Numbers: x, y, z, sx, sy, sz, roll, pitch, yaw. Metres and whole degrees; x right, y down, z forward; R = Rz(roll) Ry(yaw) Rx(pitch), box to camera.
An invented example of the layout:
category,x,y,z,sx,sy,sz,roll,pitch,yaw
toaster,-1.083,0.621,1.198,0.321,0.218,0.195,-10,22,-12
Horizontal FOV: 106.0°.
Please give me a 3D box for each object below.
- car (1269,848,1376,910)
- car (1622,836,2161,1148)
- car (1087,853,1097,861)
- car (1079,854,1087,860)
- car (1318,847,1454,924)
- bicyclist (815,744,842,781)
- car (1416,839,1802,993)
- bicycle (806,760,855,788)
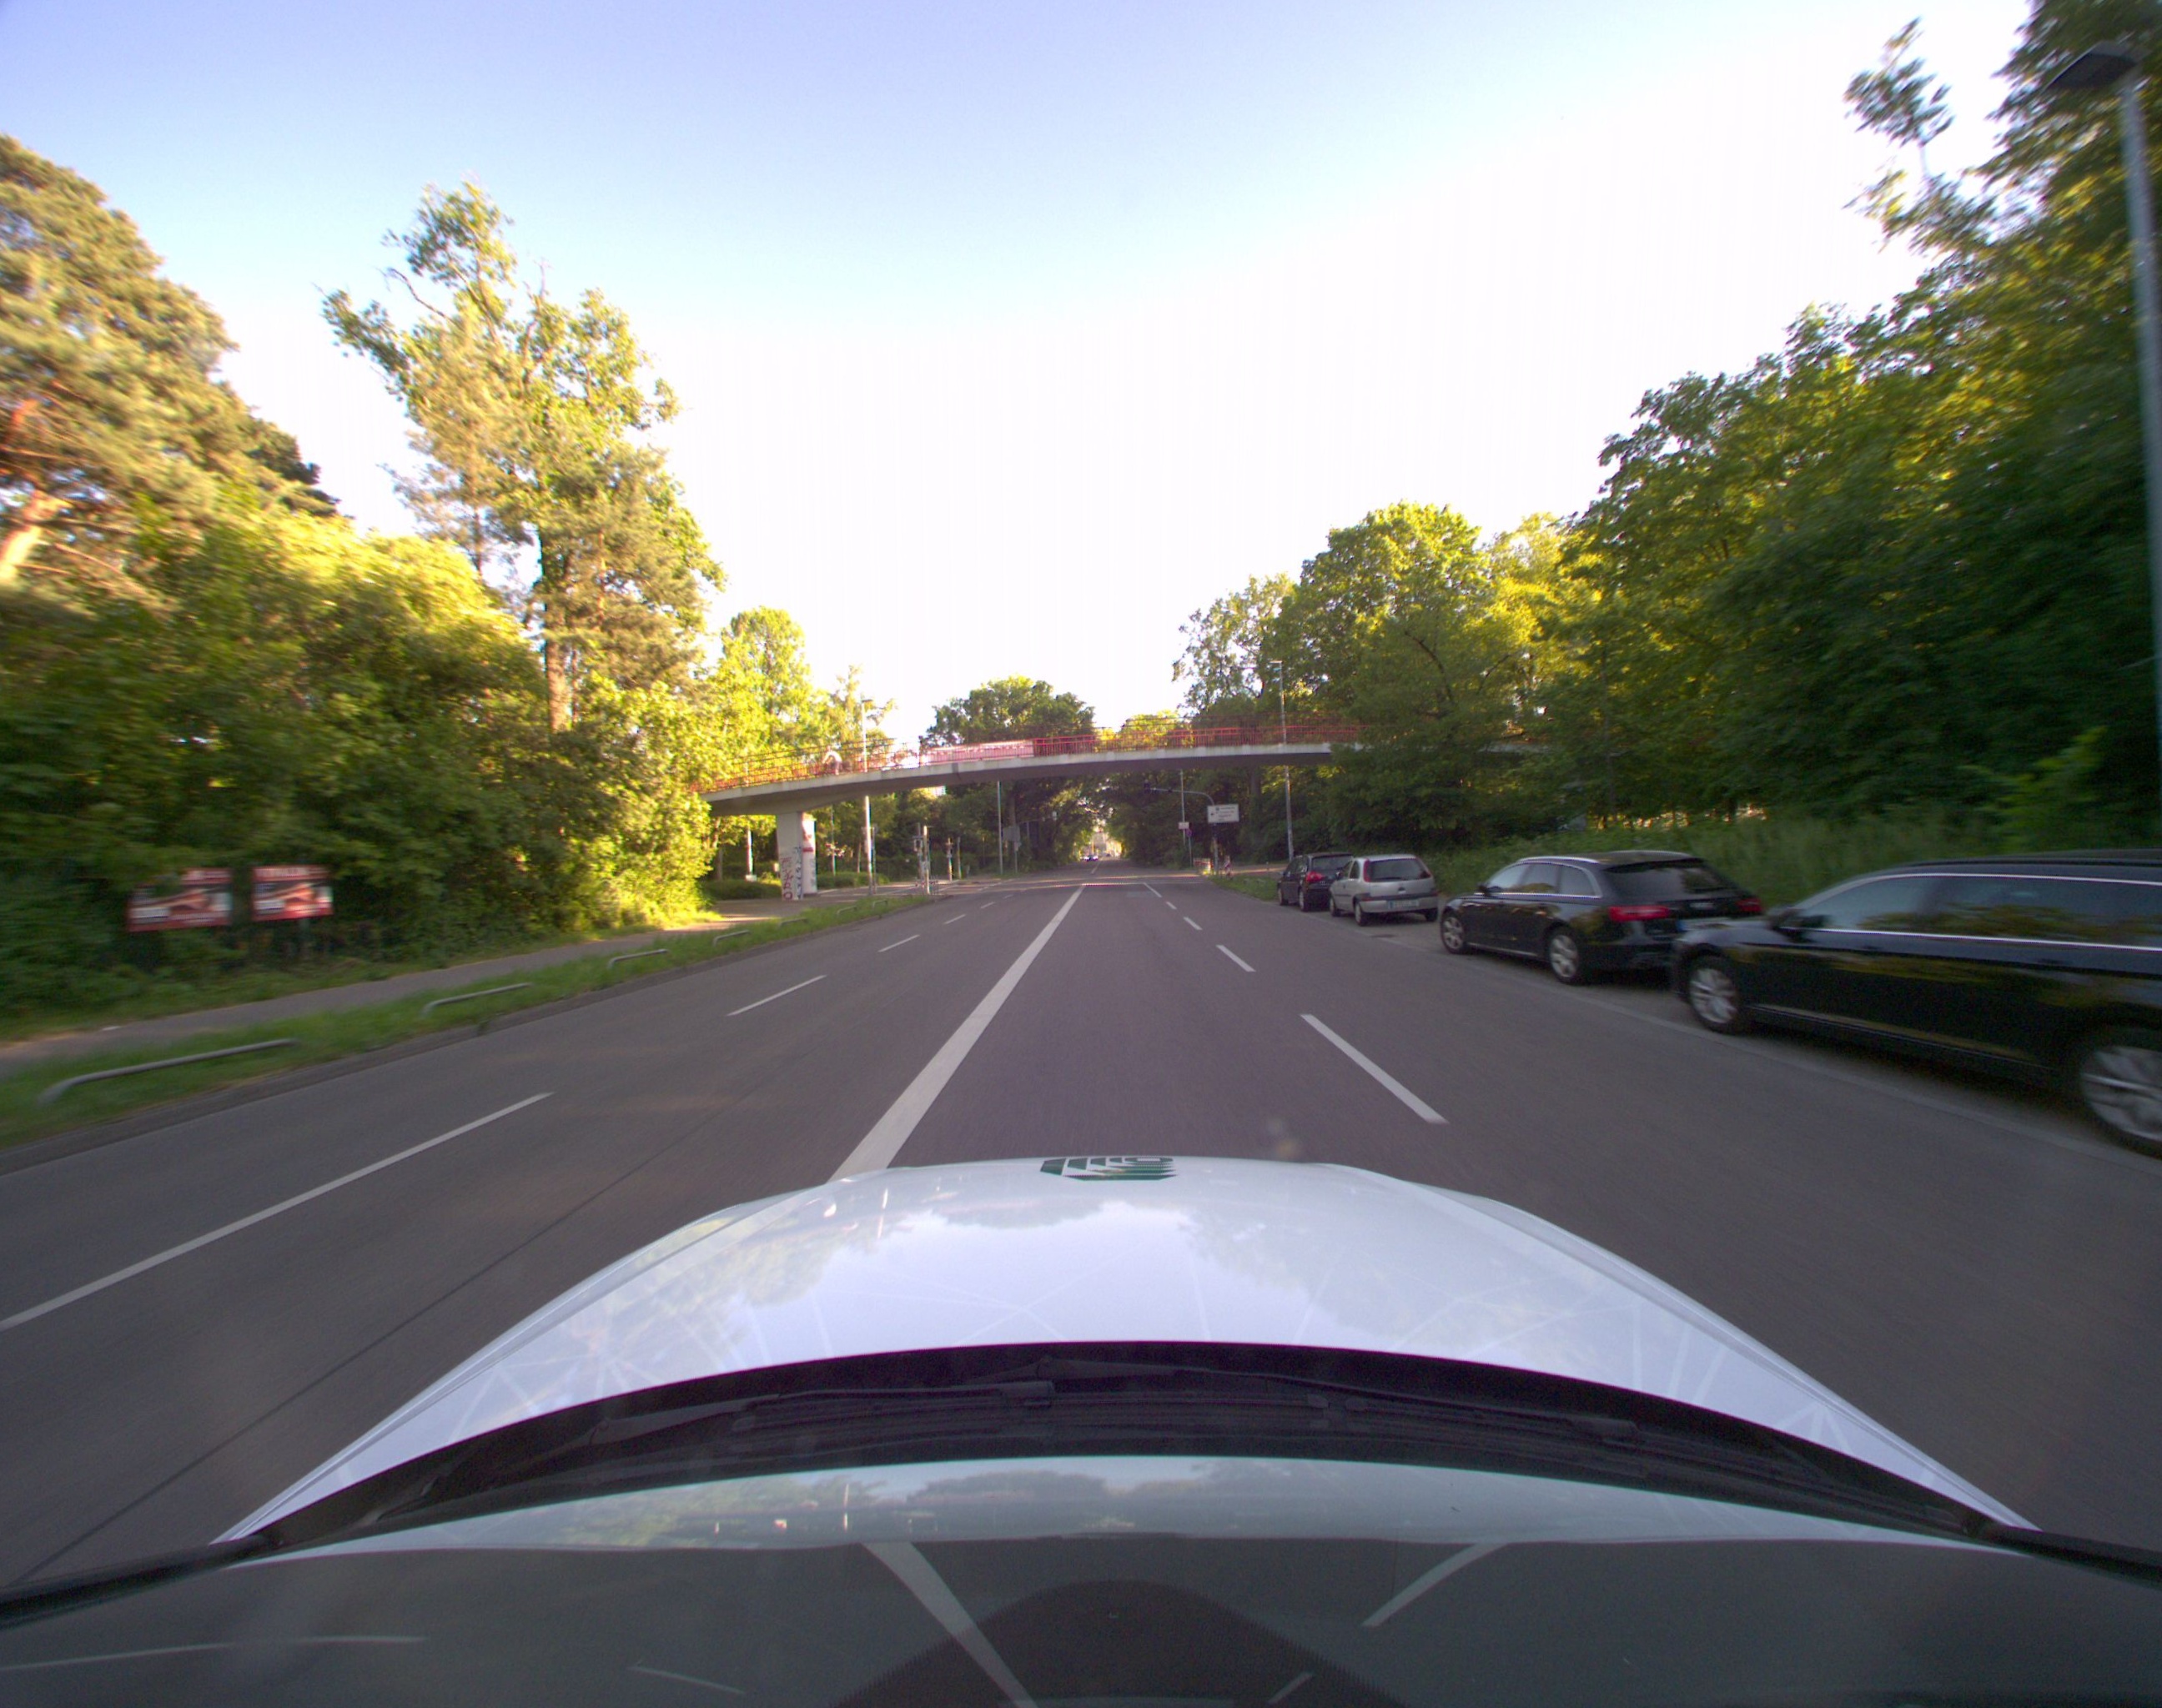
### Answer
category,x,y,z,sx,sy,sz,roll,pitch,yaw
car,6.575,0.636,22.677,1.767,1.453,4.390,-3,0,2
car,6.007,0.658,5.343,1.631,1.453,4.897,-3,0,0
car,2.201,0.598,166.861,1.881,1.506,4.364,-3,0,1
car,0.515,0.728,205.380,1.791,1.506,4.364,-3,0,1
car,6.666,0.642,18.262,1.766,1.453,4.019,-3,0,5
bicyclist,-11.505,-4.175,37.145,0.967,1.586,0.714,-1,-1,0
car,6.330,0.638,10.691,1.768,1.453,5.037,-3,0,0
bicycle,-11.430,-3.635,37.138,1.981,1.147,0.714,-1,-1,-1
